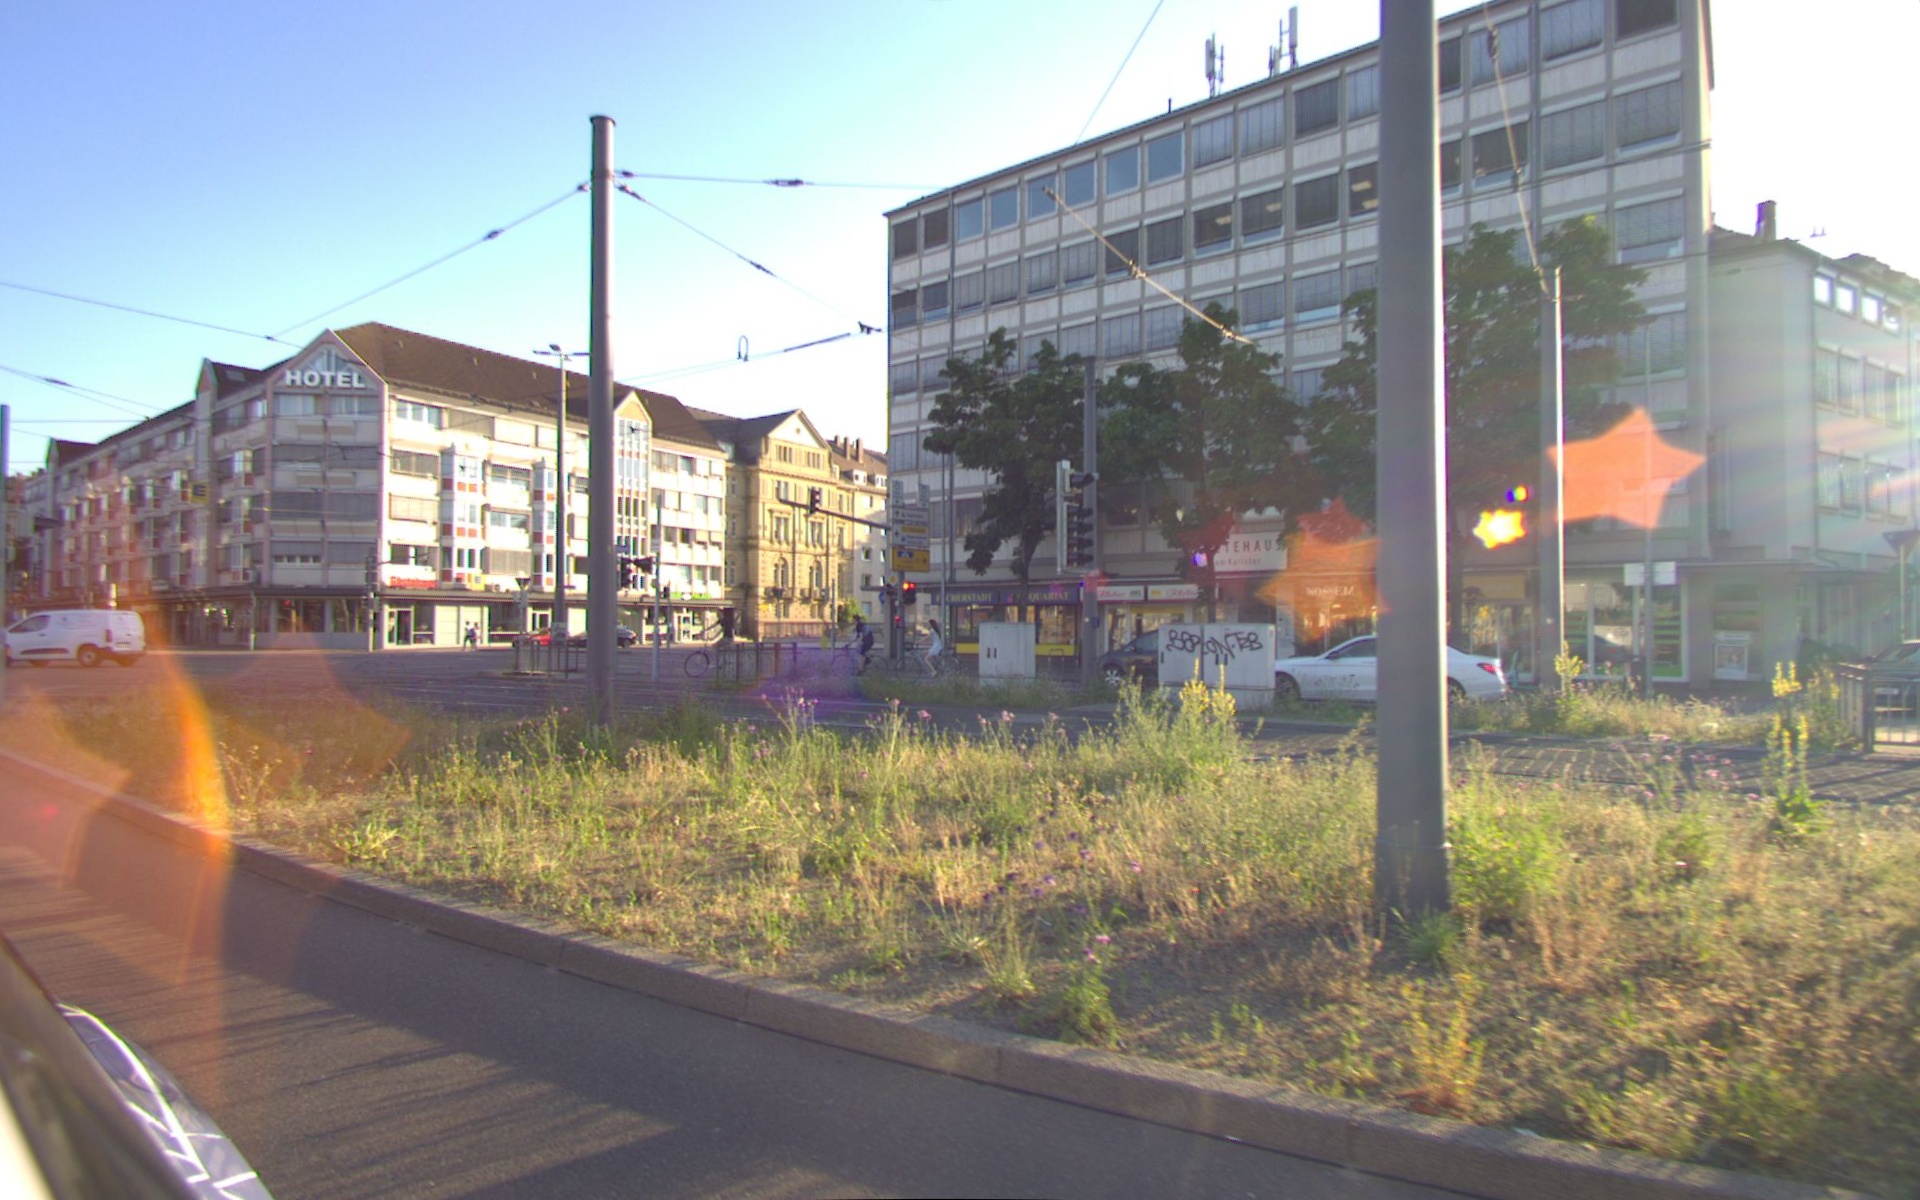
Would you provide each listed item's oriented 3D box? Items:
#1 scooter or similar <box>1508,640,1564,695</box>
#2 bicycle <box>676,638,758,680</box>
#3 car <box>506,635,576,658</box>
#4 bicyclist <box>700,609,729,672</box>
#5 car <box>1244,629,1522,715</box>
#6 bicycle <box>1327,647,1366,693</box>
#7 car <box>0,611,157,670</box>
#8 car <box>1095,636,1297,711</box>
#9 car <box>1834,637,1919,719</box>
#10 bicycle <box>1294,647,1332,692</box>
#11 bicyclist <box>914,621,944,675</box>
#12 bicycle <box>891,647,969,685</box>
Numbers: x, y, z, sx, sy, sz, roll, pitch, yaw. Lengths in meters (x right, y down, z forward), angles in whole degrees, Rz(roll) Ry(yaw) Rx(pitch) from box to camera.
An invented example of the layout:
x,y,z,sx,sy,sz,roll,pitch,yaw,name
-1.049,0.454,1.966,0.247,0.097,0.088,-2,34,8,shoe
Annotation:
x,y,z,sx,sy,sz,roll,pitch,yaw,name
14.293,1.673,25.127,1.258,1.332,0.516,1,-2,-22,scooter or similar
-6.374,1.540,26.612,2.025,1.084,0.758,1,-2,-9,bicycle
-26.600,2.937,64.348,1.644,1.433,3.854,-1,-3,32,car
-6.452,1.063,26.617,0.689,1.624,0.739,1,-2,-9,bicyclist
7.926,1.293,19.234,4.633,1.452,2.024,-1,-2,25,car
10.504,1.883,27.498,0.538,1.194,1.616,-1,-2,38,bicycle
-29.317,1.311,32.856,4.802,1.852,2.003,0,-2,-4,car
5.590,1.683,24.190,4.296,1.586,1.975,-1,-2,37,car
18.737,1.463,19.752,4.301,1.447,1.740,1,-2,-38,car
9.881,1.921,28.282,0.664,1.149,1.727,-1,-1,30,bicycle
-0.793,1.229,26.021,0.676,1.380,0.714,0,-2,7,bicyclist
-0.757,1.679,25.996,1.931,0.937,0.723,0,-2,7,bicycle
